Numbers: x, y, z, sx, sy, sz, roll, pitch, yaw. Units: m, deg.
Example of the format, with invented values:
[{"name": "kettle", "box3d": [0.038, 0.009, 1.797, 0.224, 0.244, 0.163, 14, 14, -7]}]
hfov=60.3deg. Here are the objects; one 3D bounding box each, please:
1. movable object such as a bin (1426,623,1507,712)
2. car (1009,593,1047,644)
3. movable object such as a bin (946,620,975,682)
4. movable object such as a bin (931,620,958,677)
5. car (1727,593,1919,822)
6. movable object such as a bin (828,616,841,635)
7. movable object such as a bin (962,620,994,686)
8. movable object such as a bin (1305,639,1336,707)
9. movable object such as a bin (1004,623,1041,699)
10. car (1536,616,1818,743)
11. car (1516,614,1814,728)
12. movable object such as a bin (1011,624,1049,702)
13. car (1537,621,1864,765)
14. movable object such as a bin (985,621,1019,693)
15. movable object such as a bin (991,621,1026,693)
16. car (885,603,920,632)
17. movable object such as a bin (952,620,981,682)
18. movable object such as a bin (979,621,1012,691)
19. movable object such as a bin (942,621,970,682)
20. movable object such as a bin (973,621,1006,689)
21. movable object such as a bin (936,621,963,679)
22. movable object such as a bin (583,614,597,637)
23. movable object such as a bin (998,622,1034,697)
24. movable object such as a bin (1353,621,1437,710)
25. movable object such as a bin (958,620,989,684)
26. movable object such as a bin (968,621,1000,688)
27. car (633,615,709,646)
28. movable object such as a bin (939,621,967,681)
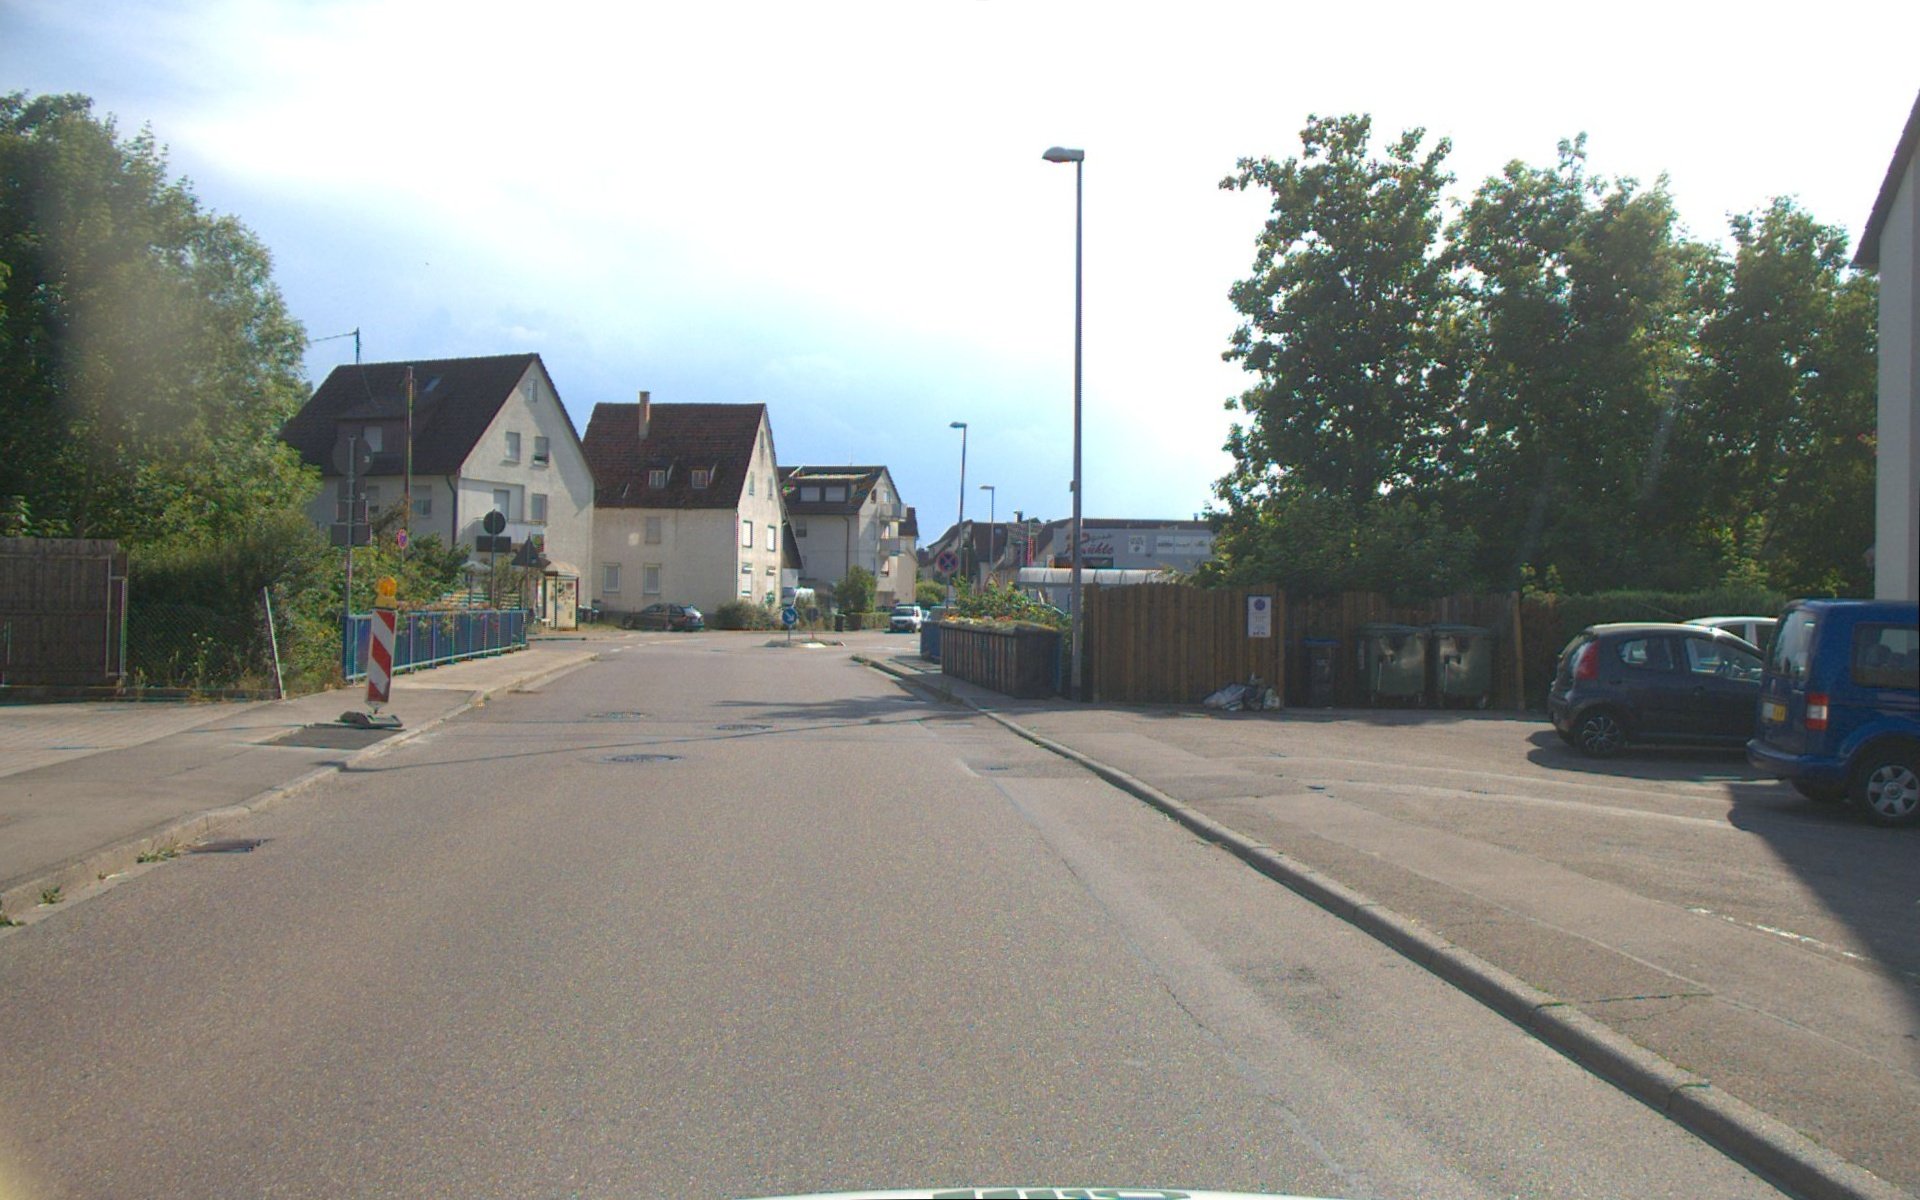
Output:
[{"name": "movable object such as a bin", "box3d": [8.105, 1.066, 26.510, 1.018, 1.360, 1.005, 1, 0, 5]}, {"name": "car", "box3d": [3.389, 0.941, 82.115, 1.798, 2.416, 5.180, 1, -1, 3]}, {"name": "movable object such as a bin", "box3d": [0.006, 0.979, 31.755, 0.470, 1.163, 0.537, 1, -1, -8]}, {"name": "movable object such as a bin", "box3d": [-0.317, 0.999, 34.164, 0.470, 1.163, 0.537, 1, -1, -8]}, {"name": "car", "box3d": [9.075, 0.913, 14.247, 4.111, 1.818, 1.769, 1, 2, 10]}, {"name": "movable object such as a bin", "box3d": [-7.651, 1.545, 100.887, 0.598, 1.120, 0.576, 2, -2, 7]}, {"name": "movable object such as a bin", "box3d": [0.321, 0.952, 29.830, 0.470, 1.163, 0.563, 1, -1, -8]}, {"name": "movable object such as a bin", "box3d": [5.783, 1.173, 26.536, 0.422, 1.063, 0.442, 1, -1, 5]}, {"name": "movable object such as a bin", "box3d": [0.966, 0.947, 25.679, 0.470, 1.163, 0.537, 1, -1, -8]}, {"name": "car", "box3d": [9.229, 0.994, 21.494, 3.060, 1.476, 1.578, 1, 0, 10]}, {"name": "car", "box3d": [10.099, 0.985, 23.918, 3.663, 1.476, 1.637, 1, 0, 10]}, {"name": "movable object such as a bin", "box3d": [1.064, 0.955, 25.130, 0.470, 1.163, 0.537, 1, -1, -8]}, {"name": "car", "box3d": [8.419, 1.022, 19.059, 3.140, 1.476, 1.651, 1, 0, 12]}, {"name": "movable object such as a bin", "box3d": [0.690, 0.938, 27.410, 0.470, 1.163, 0.537, 1, -1, -8]}, {"name": "movable object such as a bin", "box3d": [0.779, 0.919, 26.817, 0.470, 1.163, 0.537, 1, -1, -8]}, {"name": "car", "box3d": [-3.862, 1.203, 112.048, 1.680, 1.905, 4.195, 0, -1, 7]}, {"name": "movable object such as a bin", "box3d": [0.122, 0.954, 31.109, 0.470, 1.163, 0.537, 1, -1, -8]}, {"name": "movable object such as a bin", "box3d": [0.598, 0.950, 28.039, 0.470, 1.163, 0.537, 1, -1, -8]}, {"name": "movable object such as a bin", "box3d": [-0.084, 1.000, 32.318, 0.470, 1.163, 0.537, 1, -1, -8]}, {"name": "movable object such as a bin", "box3d": [0.509, 0.950, 28.630, 0.470, 1.163, 0.537, 1, -1, -8]}, {"name": "movable object such as a bin", "box3d": [-0.217, 1.018, 33.540, 0.470, 1.163, 0.537, 1, -1, -8]}, {"name": "movable object such as a bin", "box3d": [-17.620, 1.208, 78.692, 0.354, 1.041, 0.576, 1, -3, 23]}, {"name": "movable object such as a bin", "box3d": [0.886, 0.941, 26.247, 0.470, 1.163, 0.541, 1, -1, -8]}, {"name": "movable object such as a bin", "box3d": [6.969, 1.044, 26.561, 1.127, 1.360, 1.046, 1, 0, 5]}, {"name": "movable object such as a bin", "box3d": [0.245, 0.957, 30.423, 0.470, 1.163, 0.537, 1, -1, -8]}, {"name": "movable object such as a bin", "box3d": [0.422, 0.956, 29.205, 0.470, 1.163, 0.537, 1, -1, -8]}, {"name": "car", "box3d": [-15.219, 1.592, 87.075, 3.918, 1.458, 1.648, 2, -1, 34]}, {"name": "movable object such as a bin", "box3d": [-0.141, 1.012, 32.952, 0.470, 1.163, 0.537, 1, -1, -8]}]
